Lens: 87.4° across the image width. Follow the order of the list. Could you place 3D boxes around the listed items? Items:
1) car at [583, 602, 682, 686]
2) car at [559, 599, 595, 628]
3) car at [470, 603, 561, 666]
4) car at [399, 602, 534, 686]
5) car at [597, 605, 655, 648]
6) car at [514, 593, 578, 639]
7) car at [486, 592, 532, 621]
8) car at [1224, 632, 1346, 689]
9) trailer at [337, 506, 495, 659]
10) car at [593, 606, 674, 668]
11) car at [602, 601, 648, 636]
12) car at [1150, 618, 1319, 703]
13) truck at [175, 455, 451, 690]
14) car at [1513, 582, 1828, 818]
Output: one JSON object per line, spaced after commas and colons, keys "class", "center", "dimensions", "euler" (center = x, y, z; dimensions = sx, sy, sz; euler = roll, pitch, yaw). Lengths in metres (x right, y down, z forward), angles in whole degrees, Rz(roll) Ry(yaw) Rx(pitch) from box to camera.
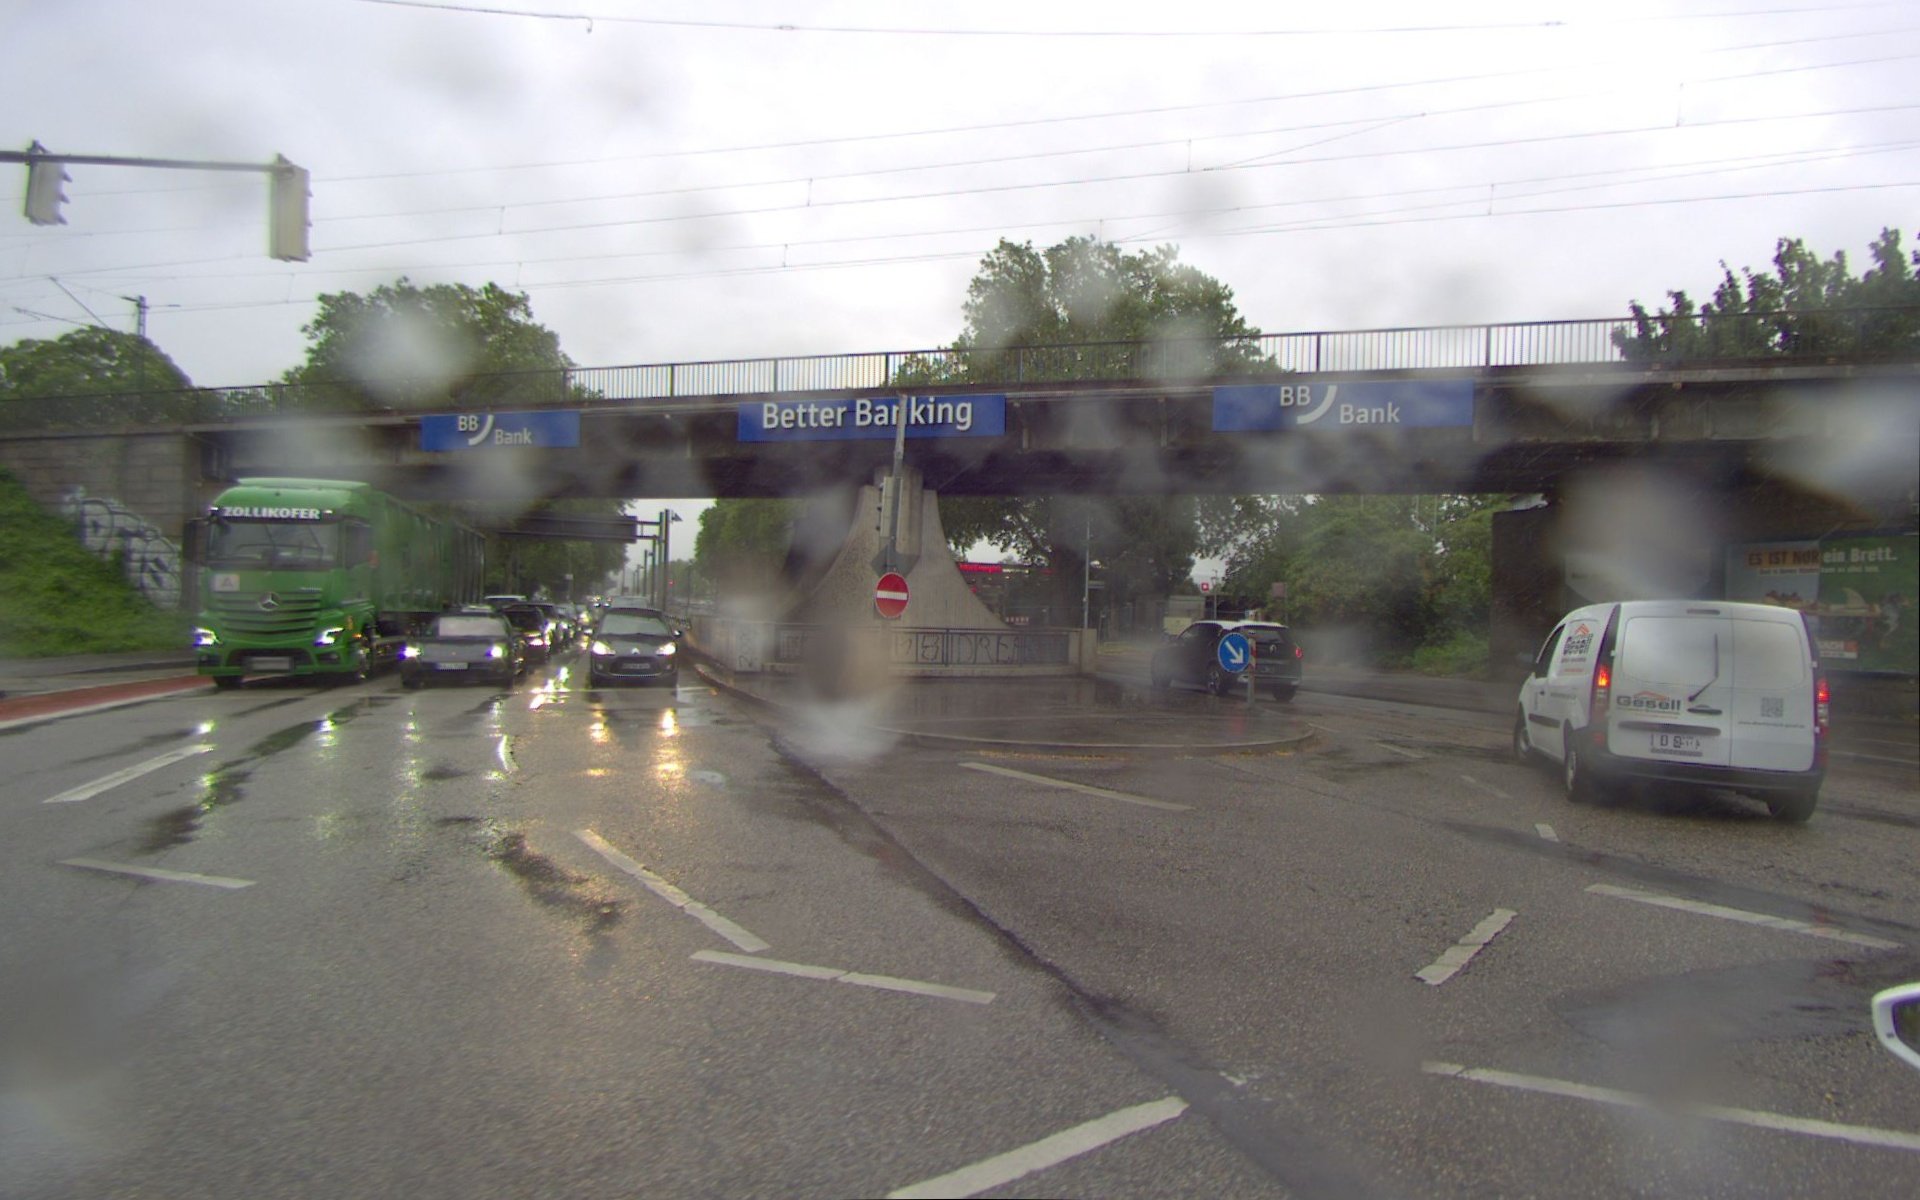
{"class": "car", "center": [-6.888, 0.852, 20.887], "dimensions": [1.636, 1.566, 3.979], "euler": [2, -1, -22]}
{"class": "car", "center": [-22.185, 0.781, 58.166], "dimensions": [1.837, 1.595, 3.667], "euler": [2, -1, -21]}
{"class": "car", "center": [-12.071, 0.912, 27.514], "dimensions": [1.970, 1.595, 3.982], "euler": [2, -1, -20]}
{"class": "car", "center": [-9.953, 0.833, 20.586], "dimensions": [1.718, 1.505, 4.668], "euler": [2, -1, -17]}
{"class": "car", "center": [-13.271, 1.014, 39.792], "dimensions": [1.970, 1.595, 3.981], "euler": [2, -1, -21]}
{"class": "car", "center": [-15.593, 0.614, 38.023], "dimensions": [1.955, 1.595, 4.531], "euler": [2, -1, -19]}
{"class": "car", "center": [-24.287, 0.358, 54.235], "dimensions": [1.799, 1.490, 3.984], "euler": [2, -1, -18]}
{"class": "car", "center": [8.383, 1.530, 26.168], "dimensions": [1.656, 1.300, 3.251], "euler": [1, -1, -11]}
{"class": "trailer", "center": [-16.560, -0.433, 31.215], "dimensions": [2.647, 4.040, 8.487], "euler": [2, -1, -18]}
{"class": "car", "center": [-8.586, 0.921, 26.191], "dimensions": [1.794, 1.472, 3.981], "euler": [2, -1, -21]}
{"class": "car", "center": [-15.185, 0.839, 45.444], "dimensions": [1.801, 1.490, 3.981], "euler": [2, -1, -21]}
{"class": "car", "center": [5.797, 1.237, 21.743], "dimensions": [1.890, 1.630, 3.990], "euler": [1, -1, -13]}
{"class": "truck", "center": [-13.664, -0.406, 22.335], "dimensions": [2.646, 4.001, 10.152], "euler": [1, -1, -19]}
{"class": "car", "center": [6.633, 0.832, 9.867], "dimensions": [1.728, 1.801, 3.998], "euler": [0, -2, 24]}
